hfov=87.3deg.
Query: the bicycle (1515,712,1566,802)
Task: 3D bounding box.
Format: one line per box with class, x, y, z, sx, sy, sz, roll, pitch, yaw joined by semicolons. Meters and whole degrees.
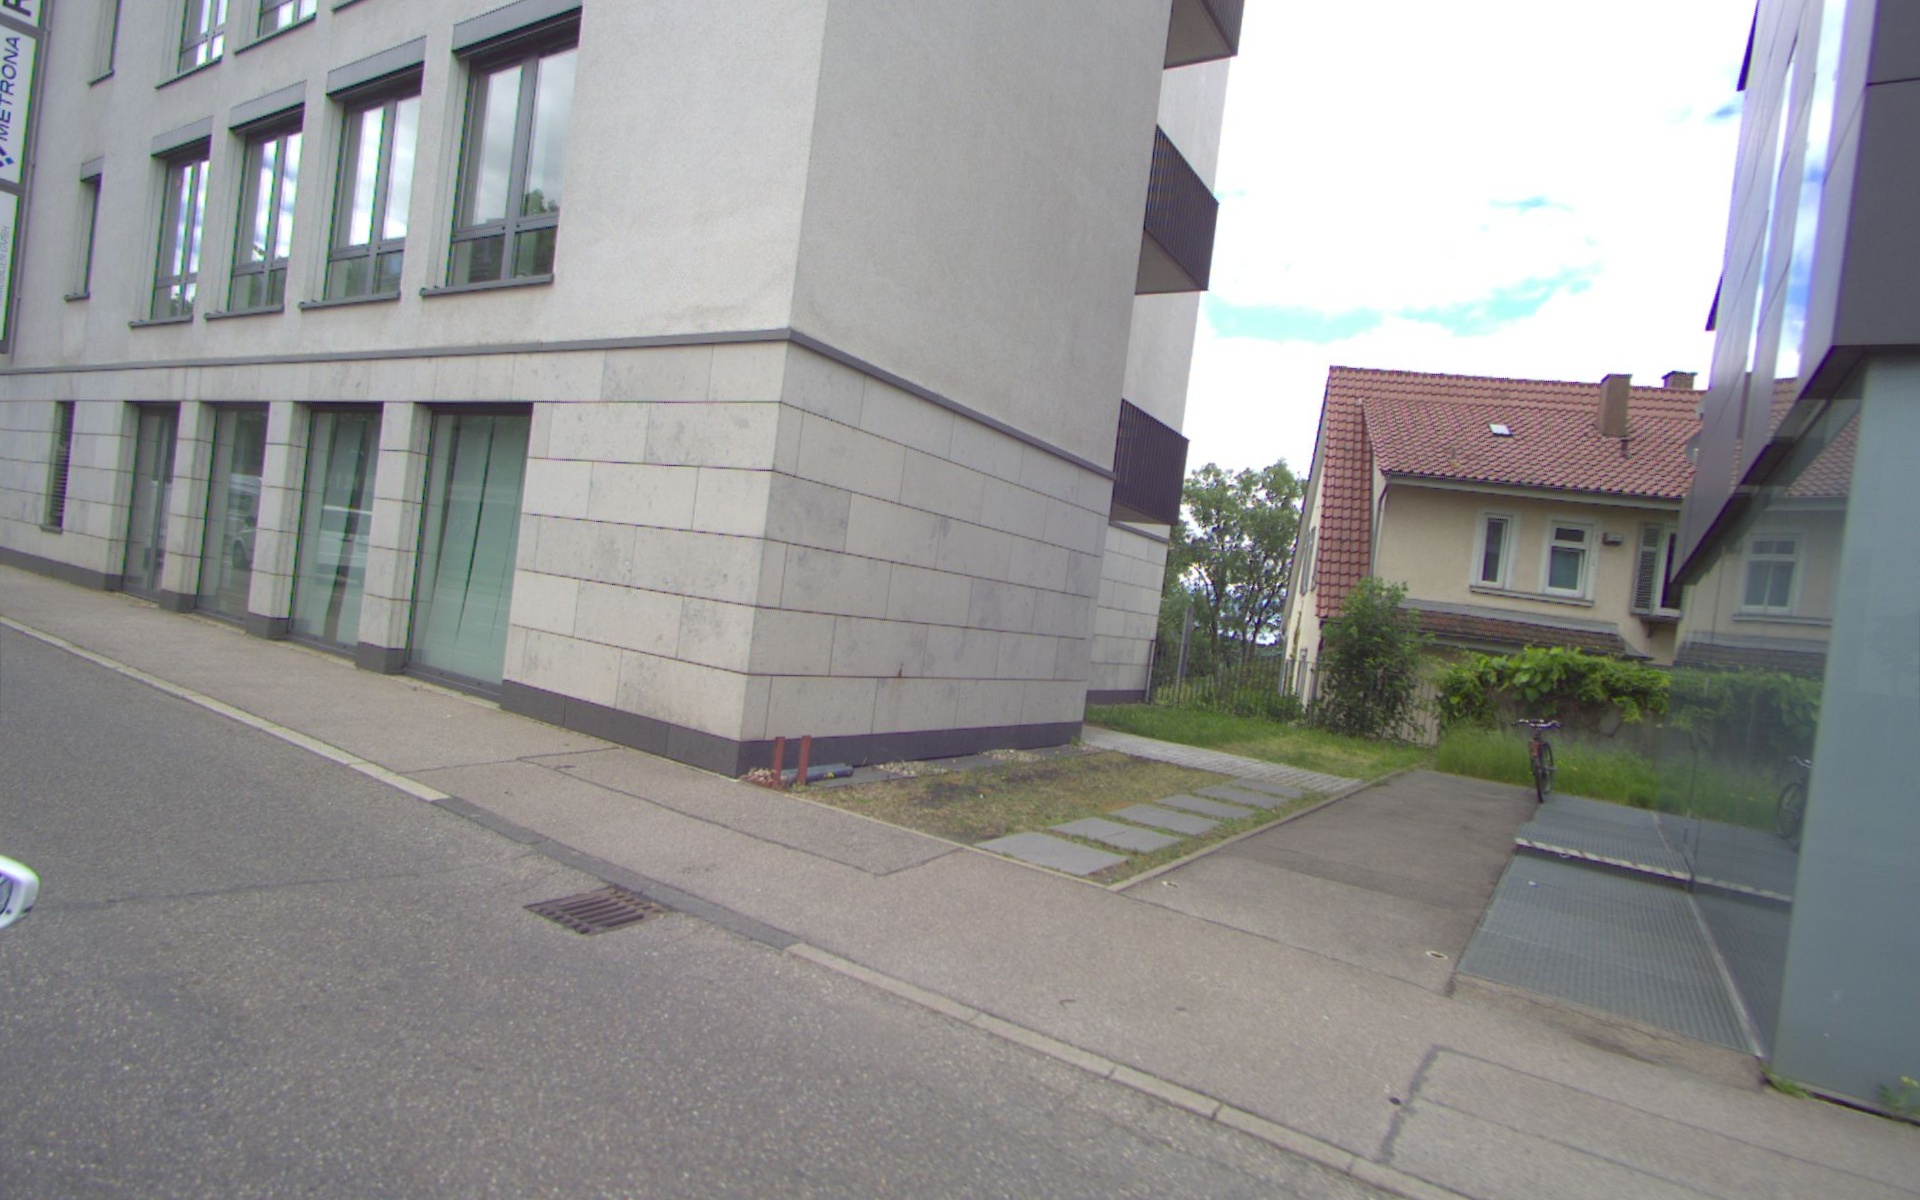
bicycle;7.588;2.010;13.126;0.365;0.987;1.960;8;1;33
